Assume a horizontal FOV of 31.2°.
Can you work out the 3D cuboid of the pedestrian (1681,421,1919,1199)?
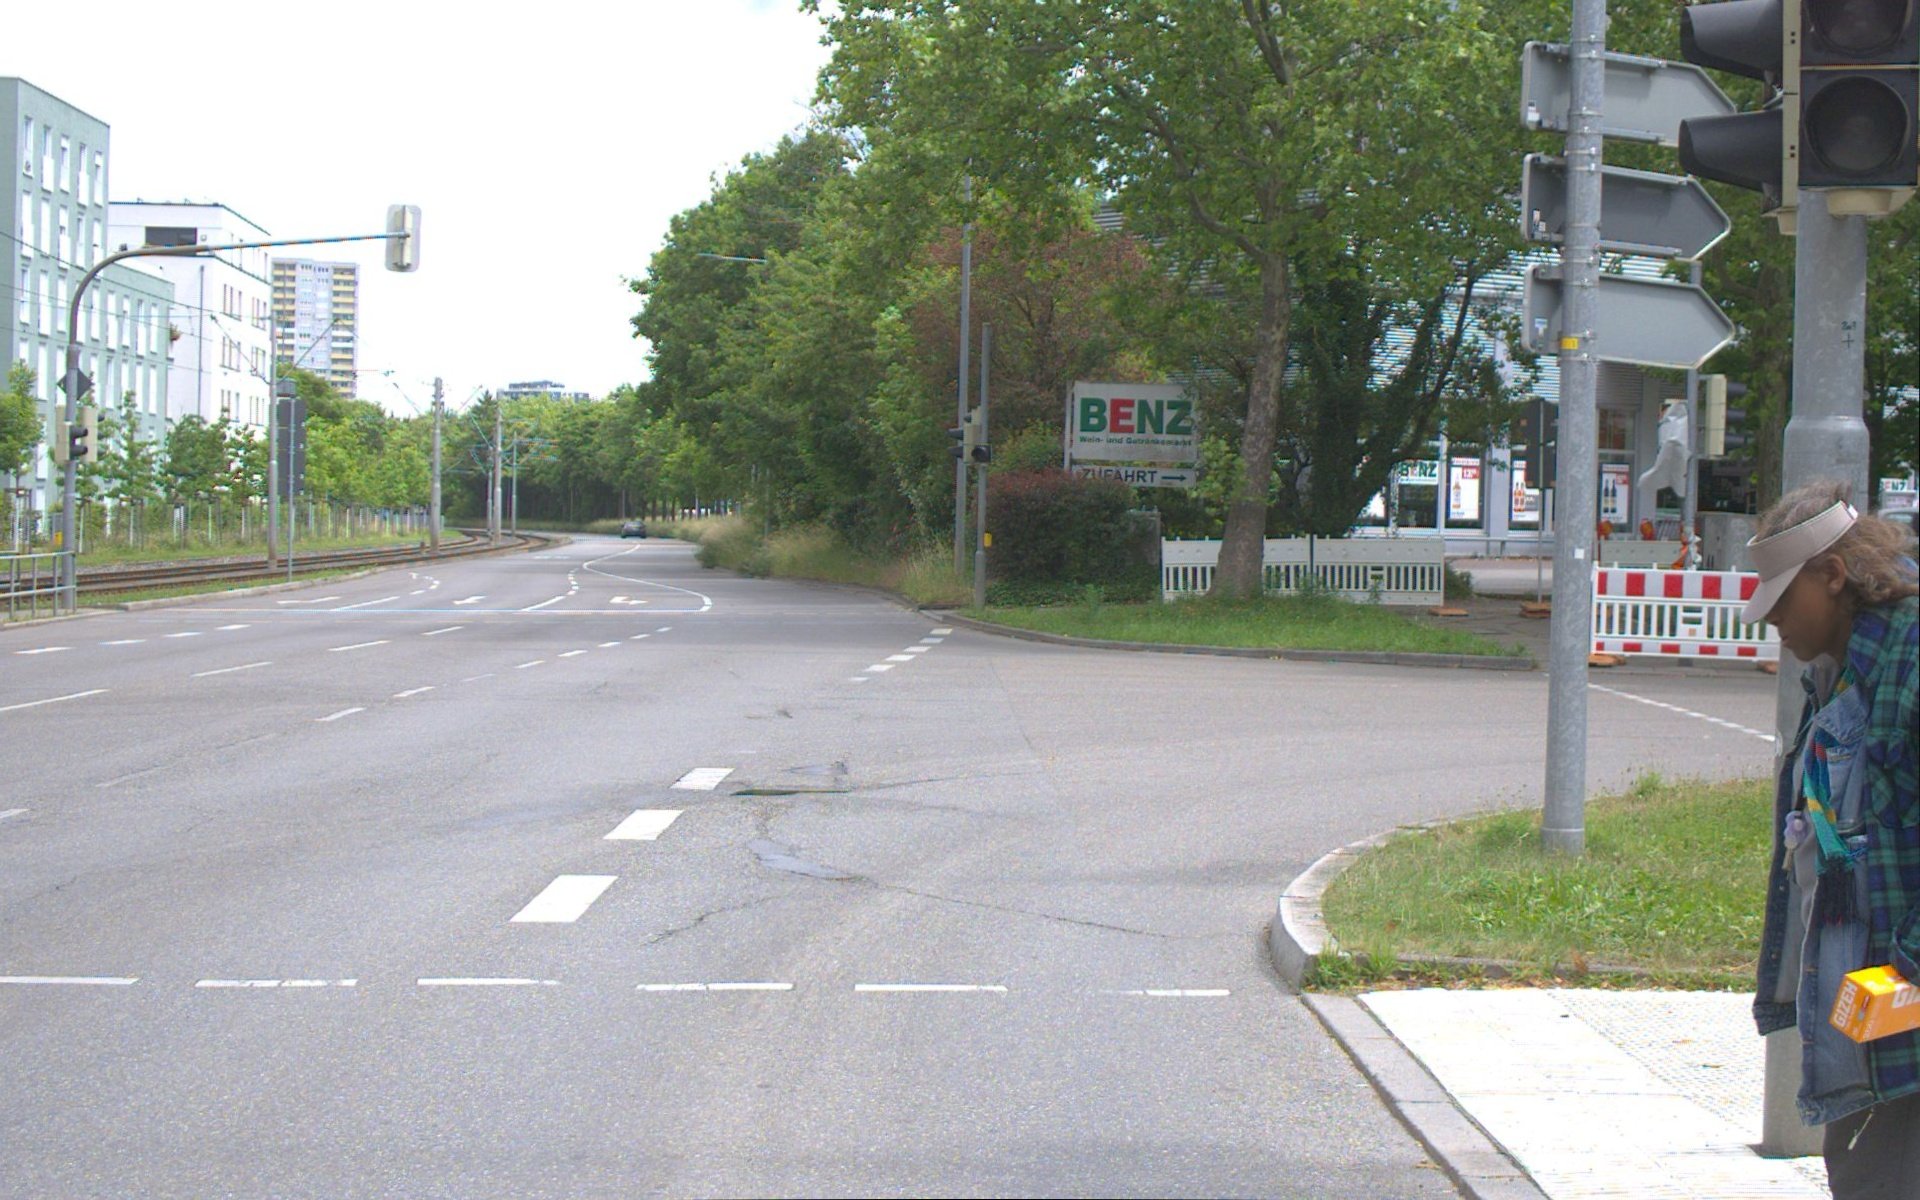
[{"bbox_3d":[1.609,0.553,5.619,0.823,1.665,0.733,1,1,12],"label":"pedestrian"}]

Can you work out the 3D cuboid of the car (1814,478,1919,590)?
[{"bbox_3d":[17.741,-1.209,62.546,1.993,2.007,4.000,0,2,-32],"label":"car"}]
